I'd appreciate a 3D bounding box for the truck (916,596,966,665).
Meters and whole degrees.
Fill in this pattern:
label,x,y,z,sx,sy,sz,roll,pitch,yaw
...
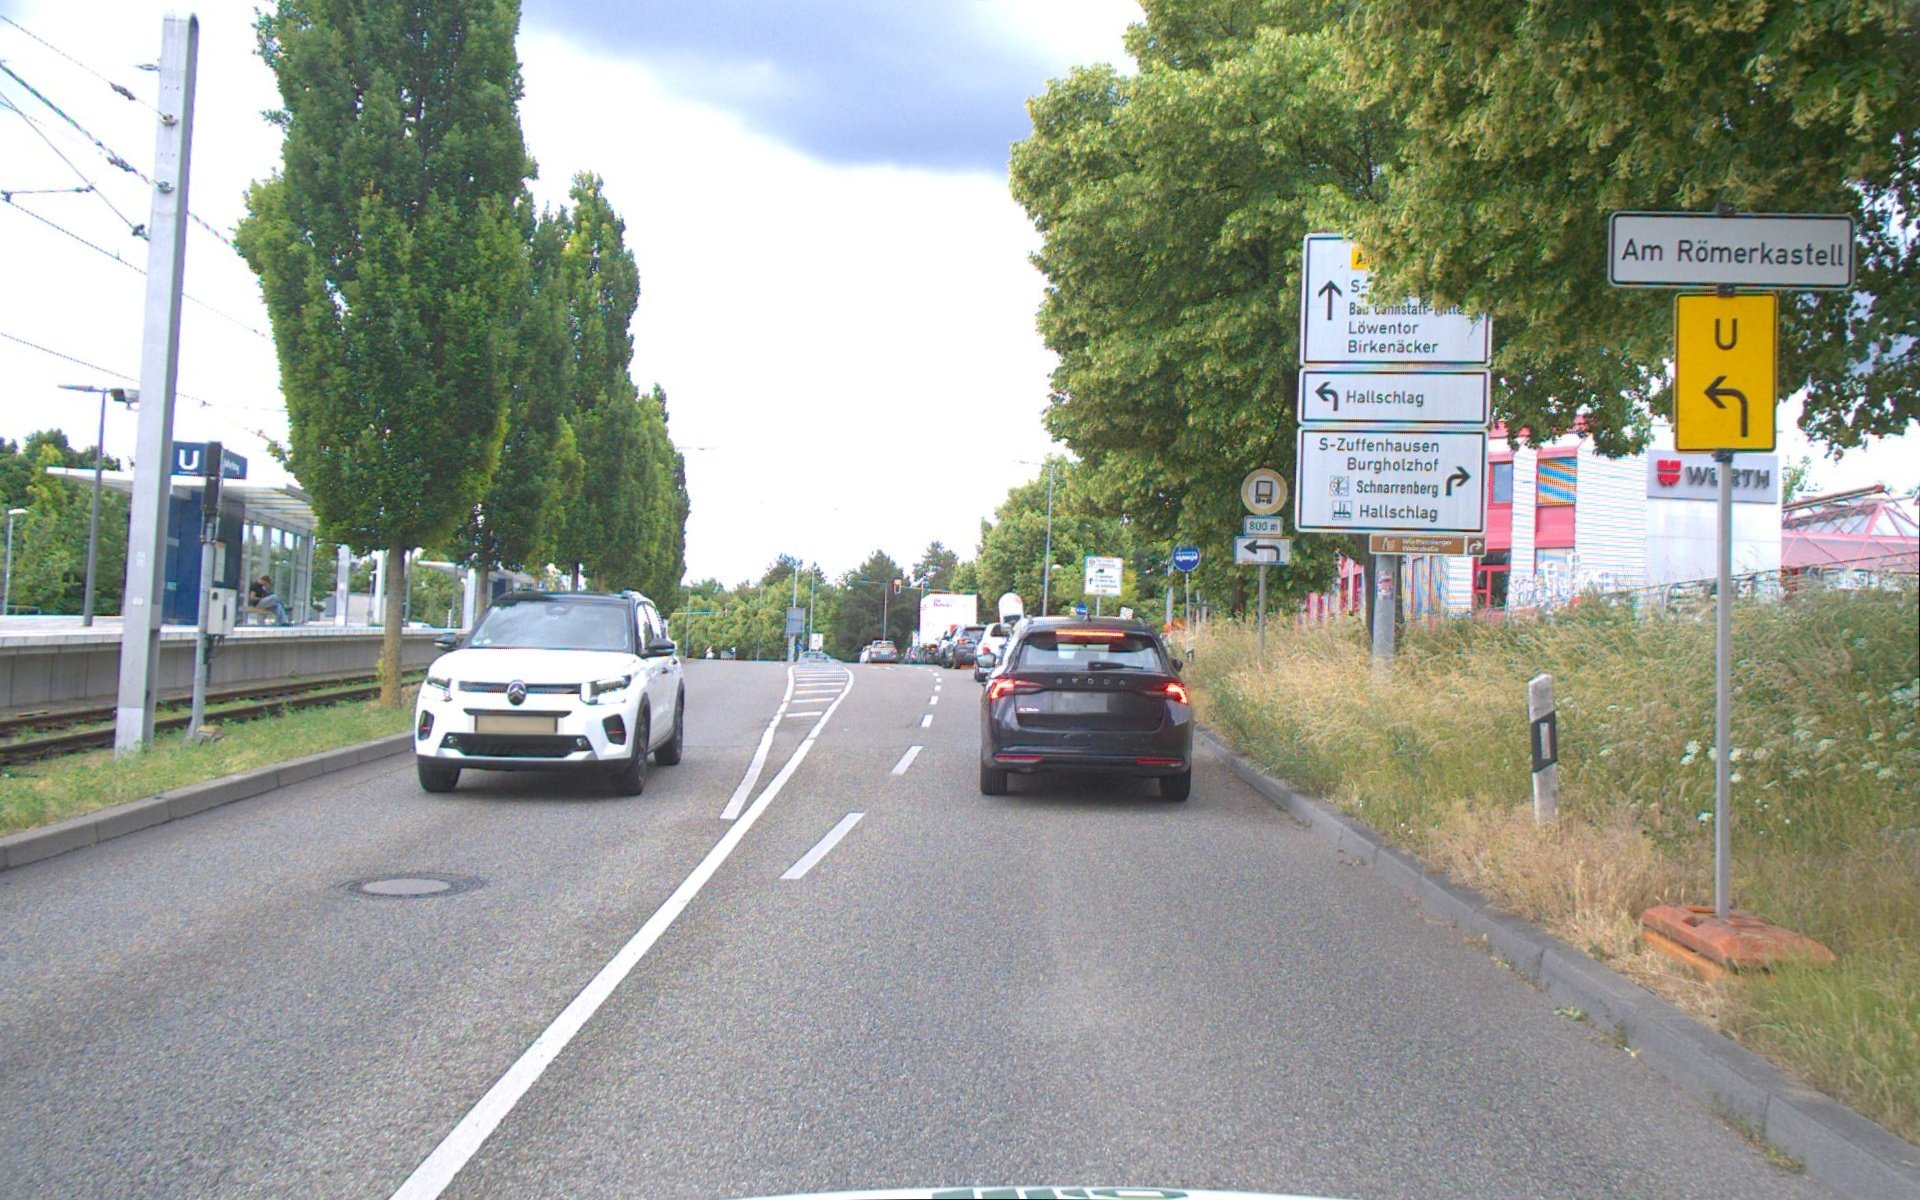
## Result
label,x,y,z,sx,sy,sz,roll,pitch,yaw
truck,-1.110,1.797,95.178,2.521,3.771,4.100,1,-3,-5

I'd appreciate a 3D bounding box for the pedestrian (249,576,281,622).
label,x,y,z,sx,sy,sz,roll,pitch,yaw
pedestrian,-16.911,-0.016,40.261,0.595,1.098,0.469,1,0,-7

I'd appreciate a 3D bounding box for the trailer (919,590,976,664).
label,x,y,z,sx,sy,sz,roll,pitch,yaw
trailer,-0.777,1.582,91.267,2.516,3.771,7.754,1,-3,-5

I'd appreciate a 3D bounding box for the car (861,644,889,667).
label,x,y,z,sx,sy,sz,roll,pitch,yaw
car,-5.839,3.805,112.908,1.688,1.447,4.350,1,-3,-6

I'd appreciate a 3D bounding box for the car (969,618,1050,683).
label,x,y,z,sx,sy,sz,roll,pitch,yaw
car,1.181,1.223,41.050,1.684,1.483,3.694,1,-1,-3

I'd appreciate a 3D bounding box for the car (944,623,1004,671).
label,x,y,z,sx,sy,sz,roll,pitch,yaw
car,0.455,1.611,57.555,1.665,1.512,3.996,2,0,-5

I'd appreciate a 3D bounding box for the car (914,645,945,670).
label,x,y,z,sx,sy,sz,roll,pitch,yaw
car,-1.934,3.633,104.561,1.776,1.378,4.115,2,0,-4

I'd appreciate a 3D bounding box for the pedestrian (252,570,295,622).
label,x,y,z,sx,sy,sz,roll,pitch,yaw
pedestrian,-16.381,-0.093,39.472,0.747,1.220,0.664,1,-1,-7

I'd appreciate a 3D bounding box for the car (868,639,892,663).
label,x,y,z,sx,sy,sz,roll,pitch,yaw
car,-5.009,3.167,103.654,1.494,1.378,3.488,1,0,-3

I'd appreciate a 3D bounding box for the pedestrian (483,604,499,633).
label,x,y,z,sx,sy,sz,roll,pitch,yaw
pedestrian,-21.356,0.835,75.264,0.599,1.291,0.658,1,0,-11

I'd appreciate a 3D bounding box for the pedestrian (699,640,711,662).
label,x,y,z,sx,sy,sz,roll,pitch,yaw
pedestrian,-18.897,3.787,122.409,0.847,1.588,0.517,1,0,-8

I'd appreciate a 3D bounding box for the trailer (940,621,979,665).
label,x,y,z,sx,sy,sz,roll,pitch,yaw
trailer,-0.046,1.680,64.384,1.381,1.622,3.301,1,-2,-2

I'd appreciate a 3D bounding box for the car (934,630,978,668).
label,x,y,z,sx,sy,sz,roll,pitch,yaw
car,-0.183,2.018,68.288,1.638,1.473,4.486,1,-2,-2

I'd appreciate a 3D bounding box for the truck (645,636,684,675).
label,x,y,z,sx,sy,sz,roll,pitch,yaw
truck,-32.756,6.118,183.035,2.620,3.712,9.449,4,0,-19

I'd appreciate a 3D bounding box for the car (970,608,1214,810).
label,x,y,z,sx,sy,sz,roll,pitch,yaw
car,1.141,0.834,14.648,1.797,1.457,4.280,2,0,4

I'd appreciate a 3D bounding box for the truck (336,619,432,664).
label,x,y,z,sx,sy,sz,roll,pitch,yaw
truck,-48.447,3.479,139.208,7.094,3.662,2.691,1,0,-2

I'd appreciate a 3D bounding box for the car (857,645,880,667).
label,x,y,z,sx,sy,sz,roll,pitch,yaw
car,-6.573,4.007,118.211,1.505,1.531,2.666,1,-3,-6

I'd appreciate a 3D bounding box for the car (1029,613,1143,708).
label,x,y,z,sx,sy,sz,roll,pitch,yaw
car,2.129,0.999,28.713,1.590,1.483,3.688,1,0,-1

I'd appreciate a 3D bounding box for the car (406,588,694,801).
label,x,y,z,sx,sy,sz,roll,pitch,yaw
car,-3.319,0.704,14.073,1.682,1.548,3.742,1,0,-3
